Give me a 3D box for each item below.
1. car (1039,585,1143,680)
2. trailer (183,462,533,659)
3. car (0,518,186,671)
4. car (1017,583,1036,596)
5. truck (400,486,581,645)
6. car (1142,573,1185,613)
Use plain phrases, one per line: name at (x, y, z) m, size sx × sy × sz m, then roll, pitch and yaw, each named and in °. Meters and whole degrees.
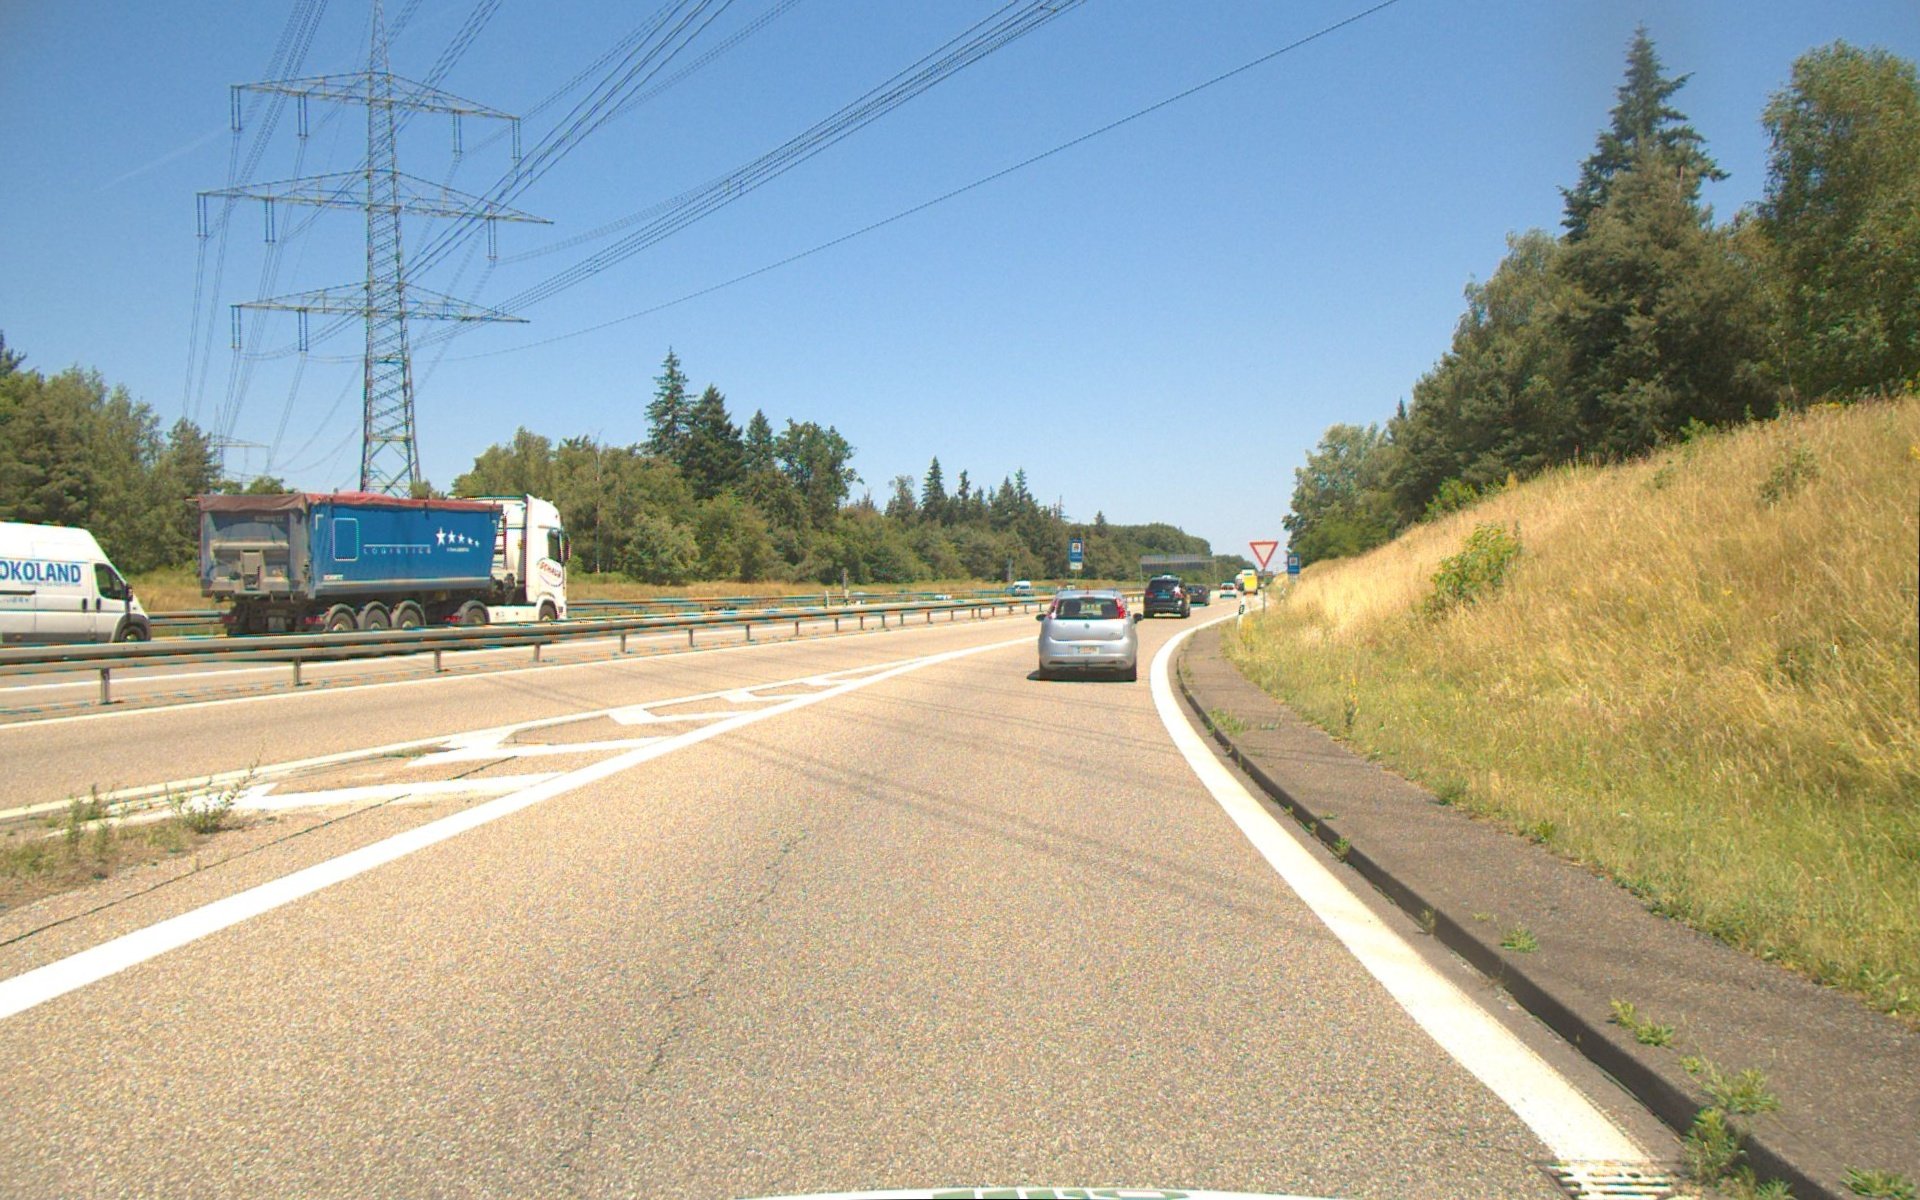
car at (2.244, 0.506, 28.363) m, size 1.670 × 1.507 × 3.400 m, roll 0°, pitch 1°, yaw 4°
trailer at (-13.200, -0.789, 37.597) m, size 2.711 × 3.874 × 9.894 m, roll 0°, pitch 0°, yaw 11°
car at (-18.767, -0.075, 32.938) m, size 2.191 × 2.882 × 7.059 m, roll 0°, pitch -1°, yaw 13°
car at (9.129, -1.455, 227.421) m, size 1.951 × 1.814 × 4.003 m, roll 0°, pitch 0°, yaw 11°
truck at (-12.112, -0.836, 43.074) m, size 2.697 × 3.874 × 4.626 m, roll 0°, pitch 0°, yaw 11°
car at (8.986, -0.295, 72.785) m, size 1.670 × 1.705 × 3.400 m, roll -1°, pitch -1°, yaw 10°
